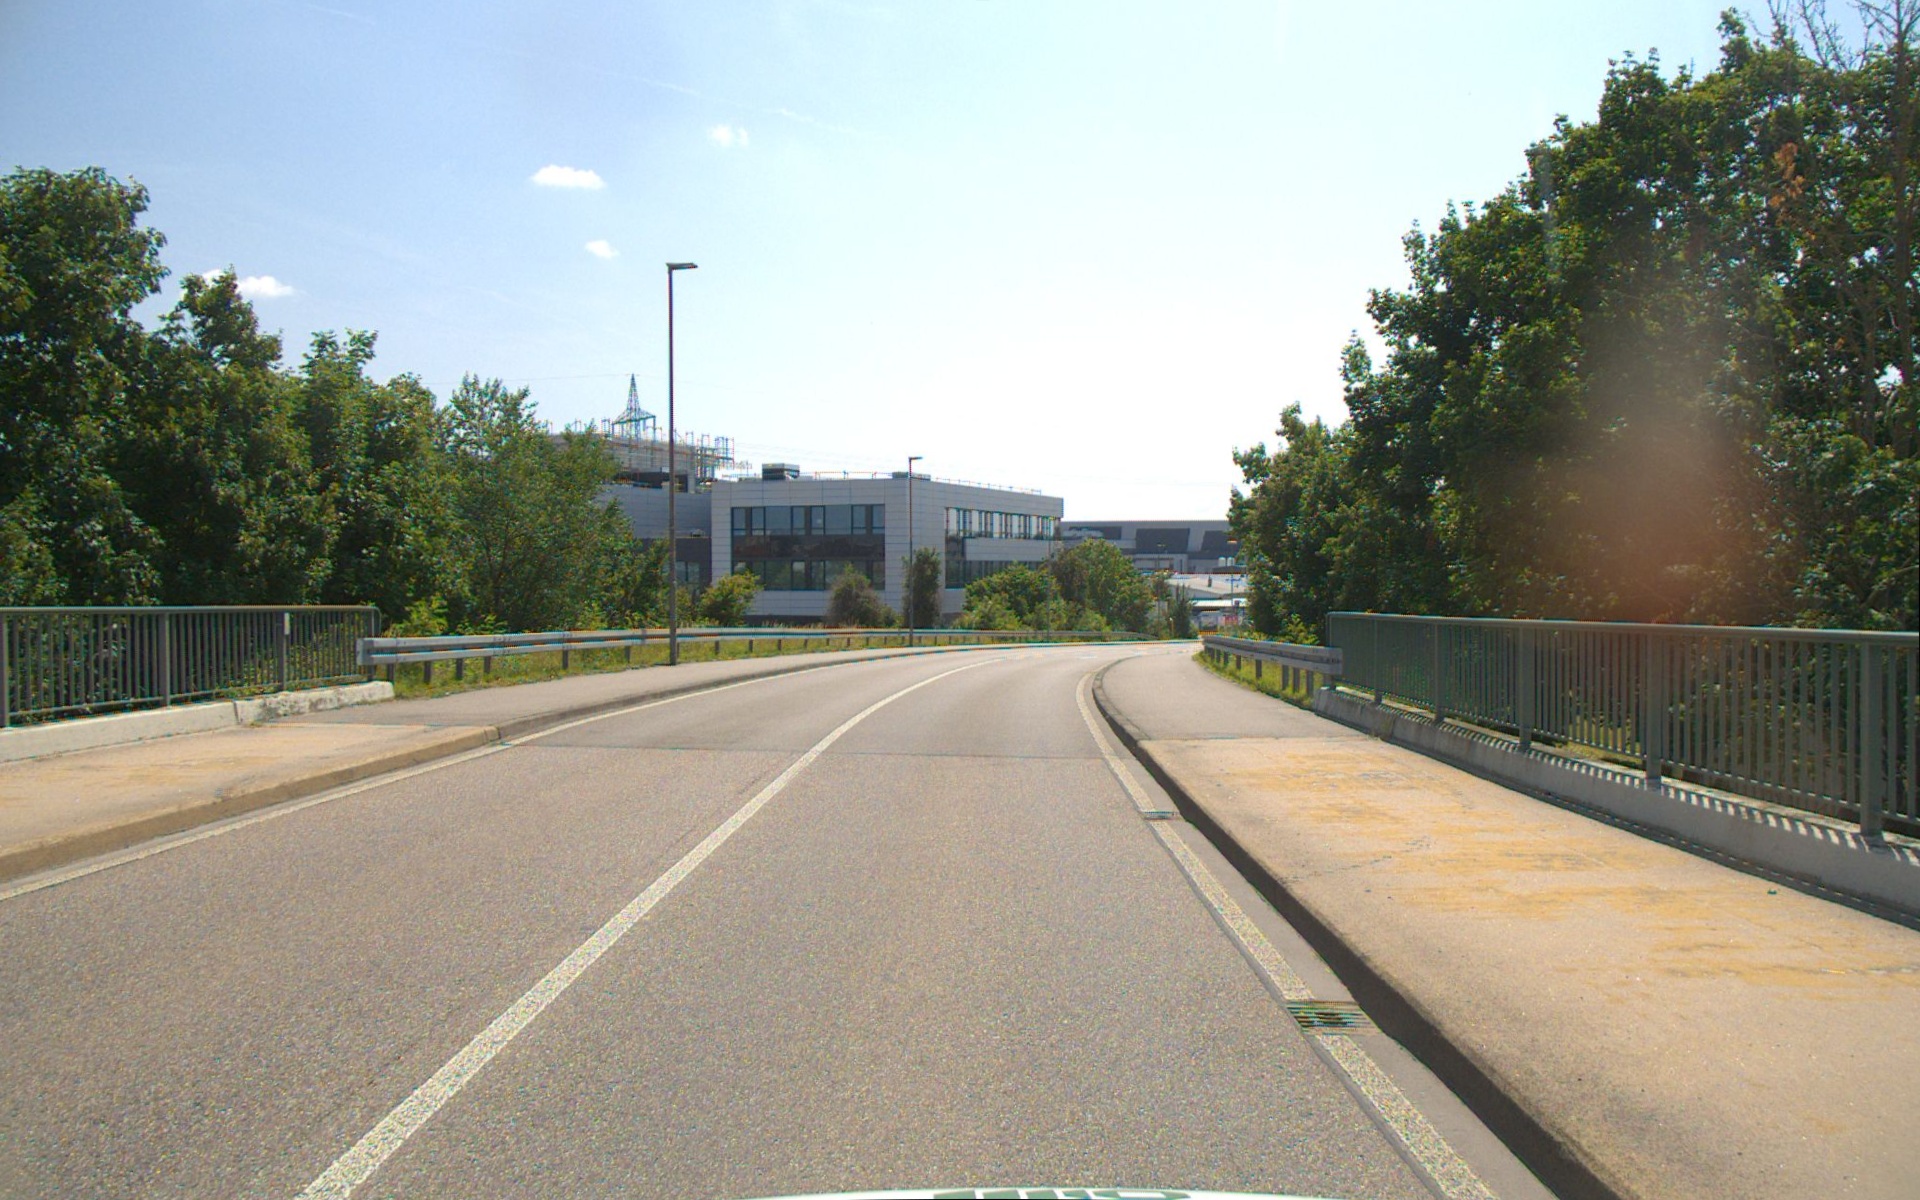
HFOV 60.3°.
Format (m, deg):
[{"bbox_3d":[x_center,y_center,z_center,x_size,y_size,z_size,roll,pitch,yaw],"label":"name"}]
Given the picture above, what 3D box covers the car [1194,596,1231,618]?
[{"bbox_3d":[30.973,0.865,202.824,1.981,2.654,4.302,1,-1,-40],"label":"car"}]
